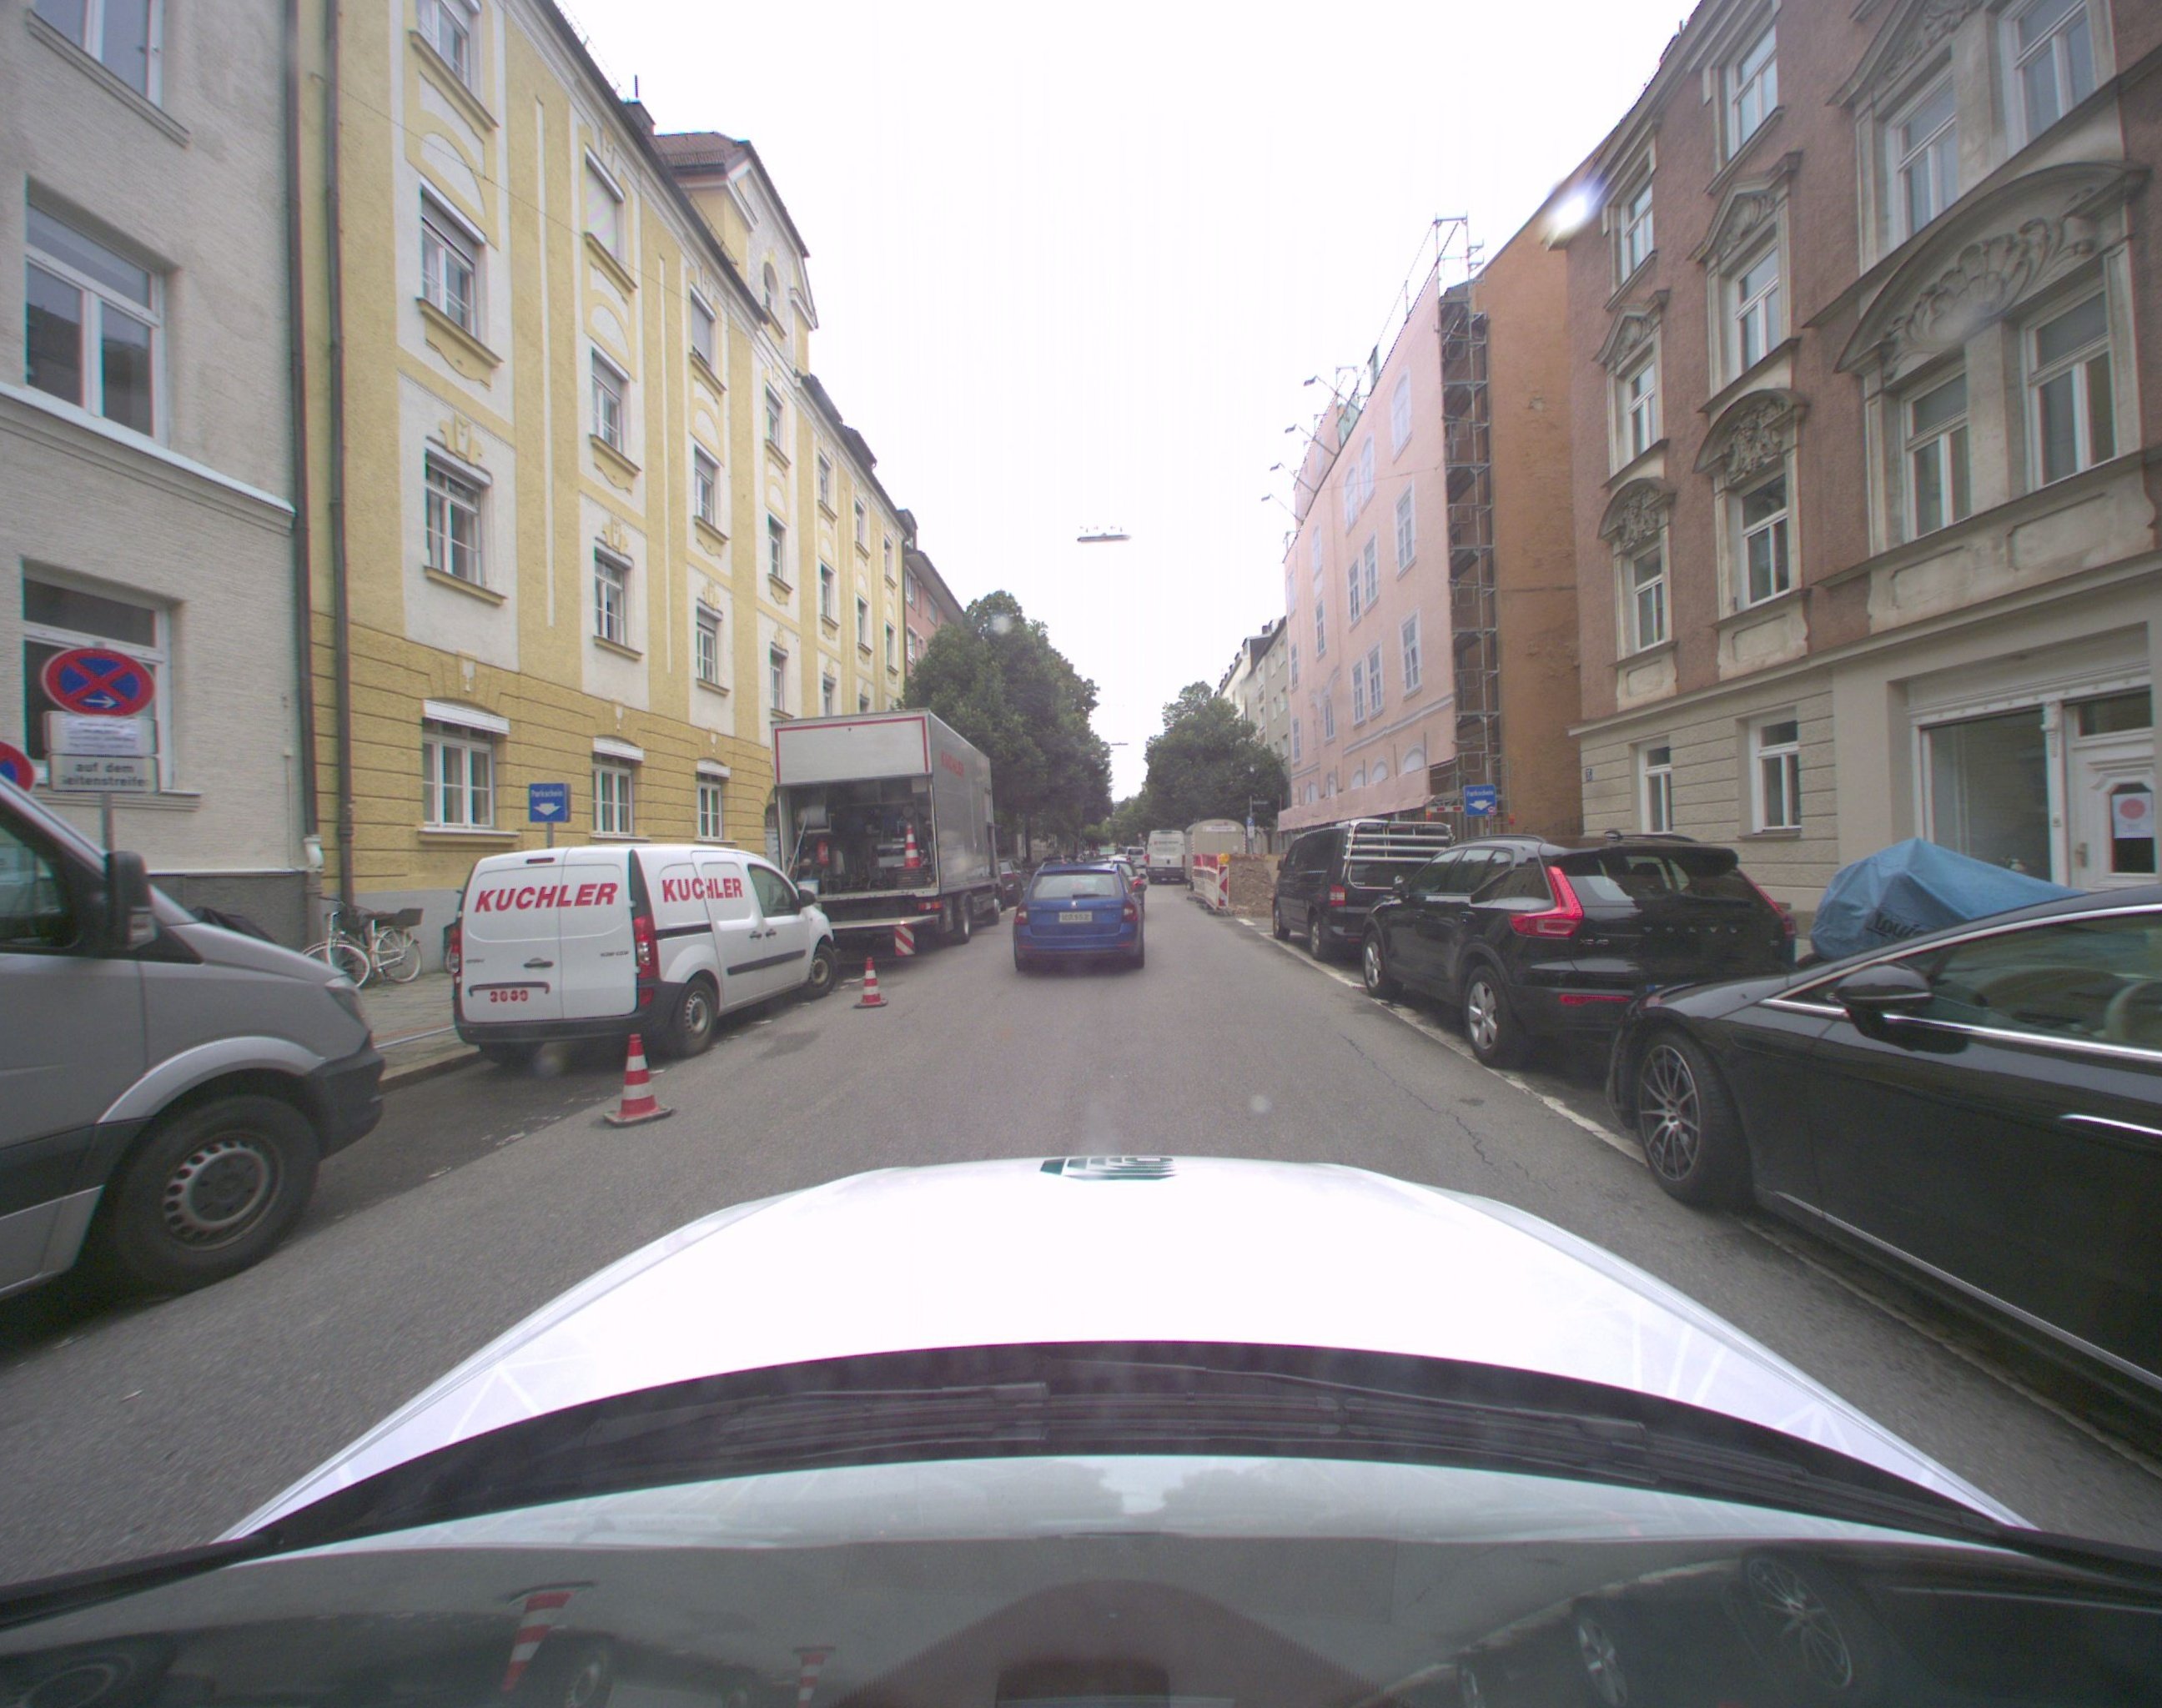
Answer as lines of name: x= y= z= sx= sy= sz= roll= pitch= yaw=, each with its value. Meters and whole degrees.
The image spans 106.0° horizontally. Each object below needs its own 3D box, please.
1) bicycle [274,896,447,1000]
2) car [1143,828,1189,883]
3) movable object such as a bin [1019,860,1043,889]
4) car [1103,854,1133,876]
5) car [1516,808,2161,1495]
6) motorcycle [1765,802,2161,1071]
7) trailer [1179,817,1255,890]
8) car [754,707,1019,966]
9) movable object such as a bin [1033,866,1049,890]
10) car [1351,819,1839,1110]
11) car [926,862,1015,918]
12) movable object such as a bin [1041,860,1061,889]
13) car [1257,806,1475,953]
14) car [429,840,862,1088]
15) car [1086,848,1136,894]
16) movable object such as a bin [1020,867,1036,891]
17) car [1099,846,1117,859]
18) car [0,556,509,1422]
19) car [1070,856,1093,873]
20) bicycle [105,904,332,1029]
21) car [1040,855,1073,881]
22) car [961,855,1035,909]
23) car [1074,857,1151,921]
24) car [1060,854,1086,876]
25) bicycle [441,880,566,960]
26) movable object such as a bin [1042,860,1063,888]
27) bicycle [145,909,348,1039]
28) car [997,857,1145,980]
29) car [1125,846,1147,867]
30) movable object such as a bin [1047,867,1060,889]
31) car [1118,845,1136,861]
bicycle: x=-8.908 y=1.120 z=10.178 sx=0.504 sy=1.104 sz=1.767 roll=1 pitch=-1 yaw=3
car: x=4.522 y=0.102 z=42.584 sx=2.100 sy=2.664 sz=5.513 roll=-1 pitch=-1 yaw=9
movable object such as a bin: x=-2.526 y=1.022 z=41.572 sx=1.078 sy=1.376 sz=1.083 roll=-4 pitch=0 yaw=-1
car: x=2.434 y=0.701 z=54.057 sx=1.861 sy=1.348 sz=4.348 roll=-1 pitch=0 yaw=1
car: x=3.393 y=0.653 z=1.898 sx=1.923 sy=1.553 sz=5.640 roll=-1 pitch=0 yaw=2
motorcycle: x=5.931 y=0.466 z=5.595 sx=0.867 sy=1.505 sz=2.000 roll=-2 pitch=0 yaw=5
trailer: x=5.765 y=0.019 z=35.430 sx=2.492 sy=2.840 sz=6.906 roll=-1 pitch=-1 yaw=3
car: x=-3.279 y=-0.245 z=16.675 sx=2.801 sy=3.817 sz=8.729 roll=-2 pitch=0 yaw=3
movable object such as a bin: x=-1.983 y=1.185 z=40.717 sx=0.709 sy=1.148 sz=0.636 roll=-4 pitch=0 yaw=-1
car: x=3.773 y=0.663 z=7.038 sx=1.686 sy=1.676 sz=4.412 roll=1 pitch=0 yaw=4
car: x=-3.098 y=0.989 z=23.531 sx=1.691 sy=1.409 sz=3.713 roll=-2 pitch=0 yaw=5
movable object such as a bin: x=-1.529 y=1.023 z=41.617 sx=0.915 sy=1.376 sz=1.079 roll=-4 pitch=0 yaw=-1
car: x=4.292 y=0.442 z=13.285 sx=2.073 sy=1.921 sz=5.145 roll=-1 pitch=-3 yaw=4
car: x=-3.902 y=0.843 z=8.335 sx=1.755 sy=1.779 sz=4.331 roll=-4 pitch=0 yaw=4
car: x=1.232 y=0.615 z=32.670 sx=1.860 sy=1.696 sz=4.350 roll=-1 pitch=0 yaw=3
movable object such as a bin: x=-2.649 y=1.229 z=40.687 sx=0.718 sy=1.138 sz=0.658 roll=-4 pitch=0 yaw=-1
car: x=3.554 y=-0.176 z=106.921 sx=2.003 sy=1.653 sz=4.343 roll=-1 pitch=0 yaw=-2
car: x=-4.349 y=0.463 z=0.922 sx=2.048 sy=2.587 sz=6.881 roll=-6 pitch=0 yaw=3
car: x=0.070 y=0.904 z=72.193 sx=1.804 sy=1.478 sz=4.003 roll=-1 pitch=0 yaw=3
bicycle: x=-9.182 y=1.142 z=8.792 sx=0.399 sy=1.104 sz=1.865 roll=-1 pitch=-1 yaw=3
car: x=-1.449 y=0.837 z=49.446 sx=1.806 sy=1.478 sz=4.001 roll=-1 pitch=0 yaw=1
car: x=-2.791 y=0.907 z=28.335 sx=1.777 sy=1.628 sz=4.189 roll=-3 pitch=0 yaw=4
car: x=0.784 y=0.813 z=20.330 sx=1.734 sy=1.422 sz=3.666 roll=-1 pitch=0 yaw=2
car: x=-0.553 y=0.801 z=60.159 sx=1.806 sy=1.478 sz=4.001 roll=-1 pitch=0 yaw=1
bicycle: x=-8.913 y=0.982 z=12.655 sx=0.605 sy=1.104 sz=1.767 roll=-1 pitch=-1 yaw=2
movable object such as a bin: x=-1.481 y=1.038 z=42.714 sx=1.017 sy=1.376 sz=1.103 roll=-4 pitch=0 yaw=-1
bicycle: x=-8.658 y=1.183 z=8.563 sx=0.400 sy=1.104 sz=1.860 roll=-1 pitch=-1 yaw=-7
car: x=0.033 y=0.804 z=12.165 sx=1.781 sy=1.460 sz=4.319 roll=-2 pitch=0 yaw=4
car: x=4.952 y=0.208 z=73.818 sx=1.860 sy=1.870 sz=4.350 roll=-1 pitch=0 yaw=3
movable object such as a bin: x=-1.364 y=1.186 z=40.754 sx=0.545 sy=1.020 sz=0.636 roll=-4 pitch=0 yaw=0
car: x=5.012 y=-0.121 z=88.123 sx=1.859 sy=1.653 sz=4.351 roll=-1 pitch=0 yaw=3
